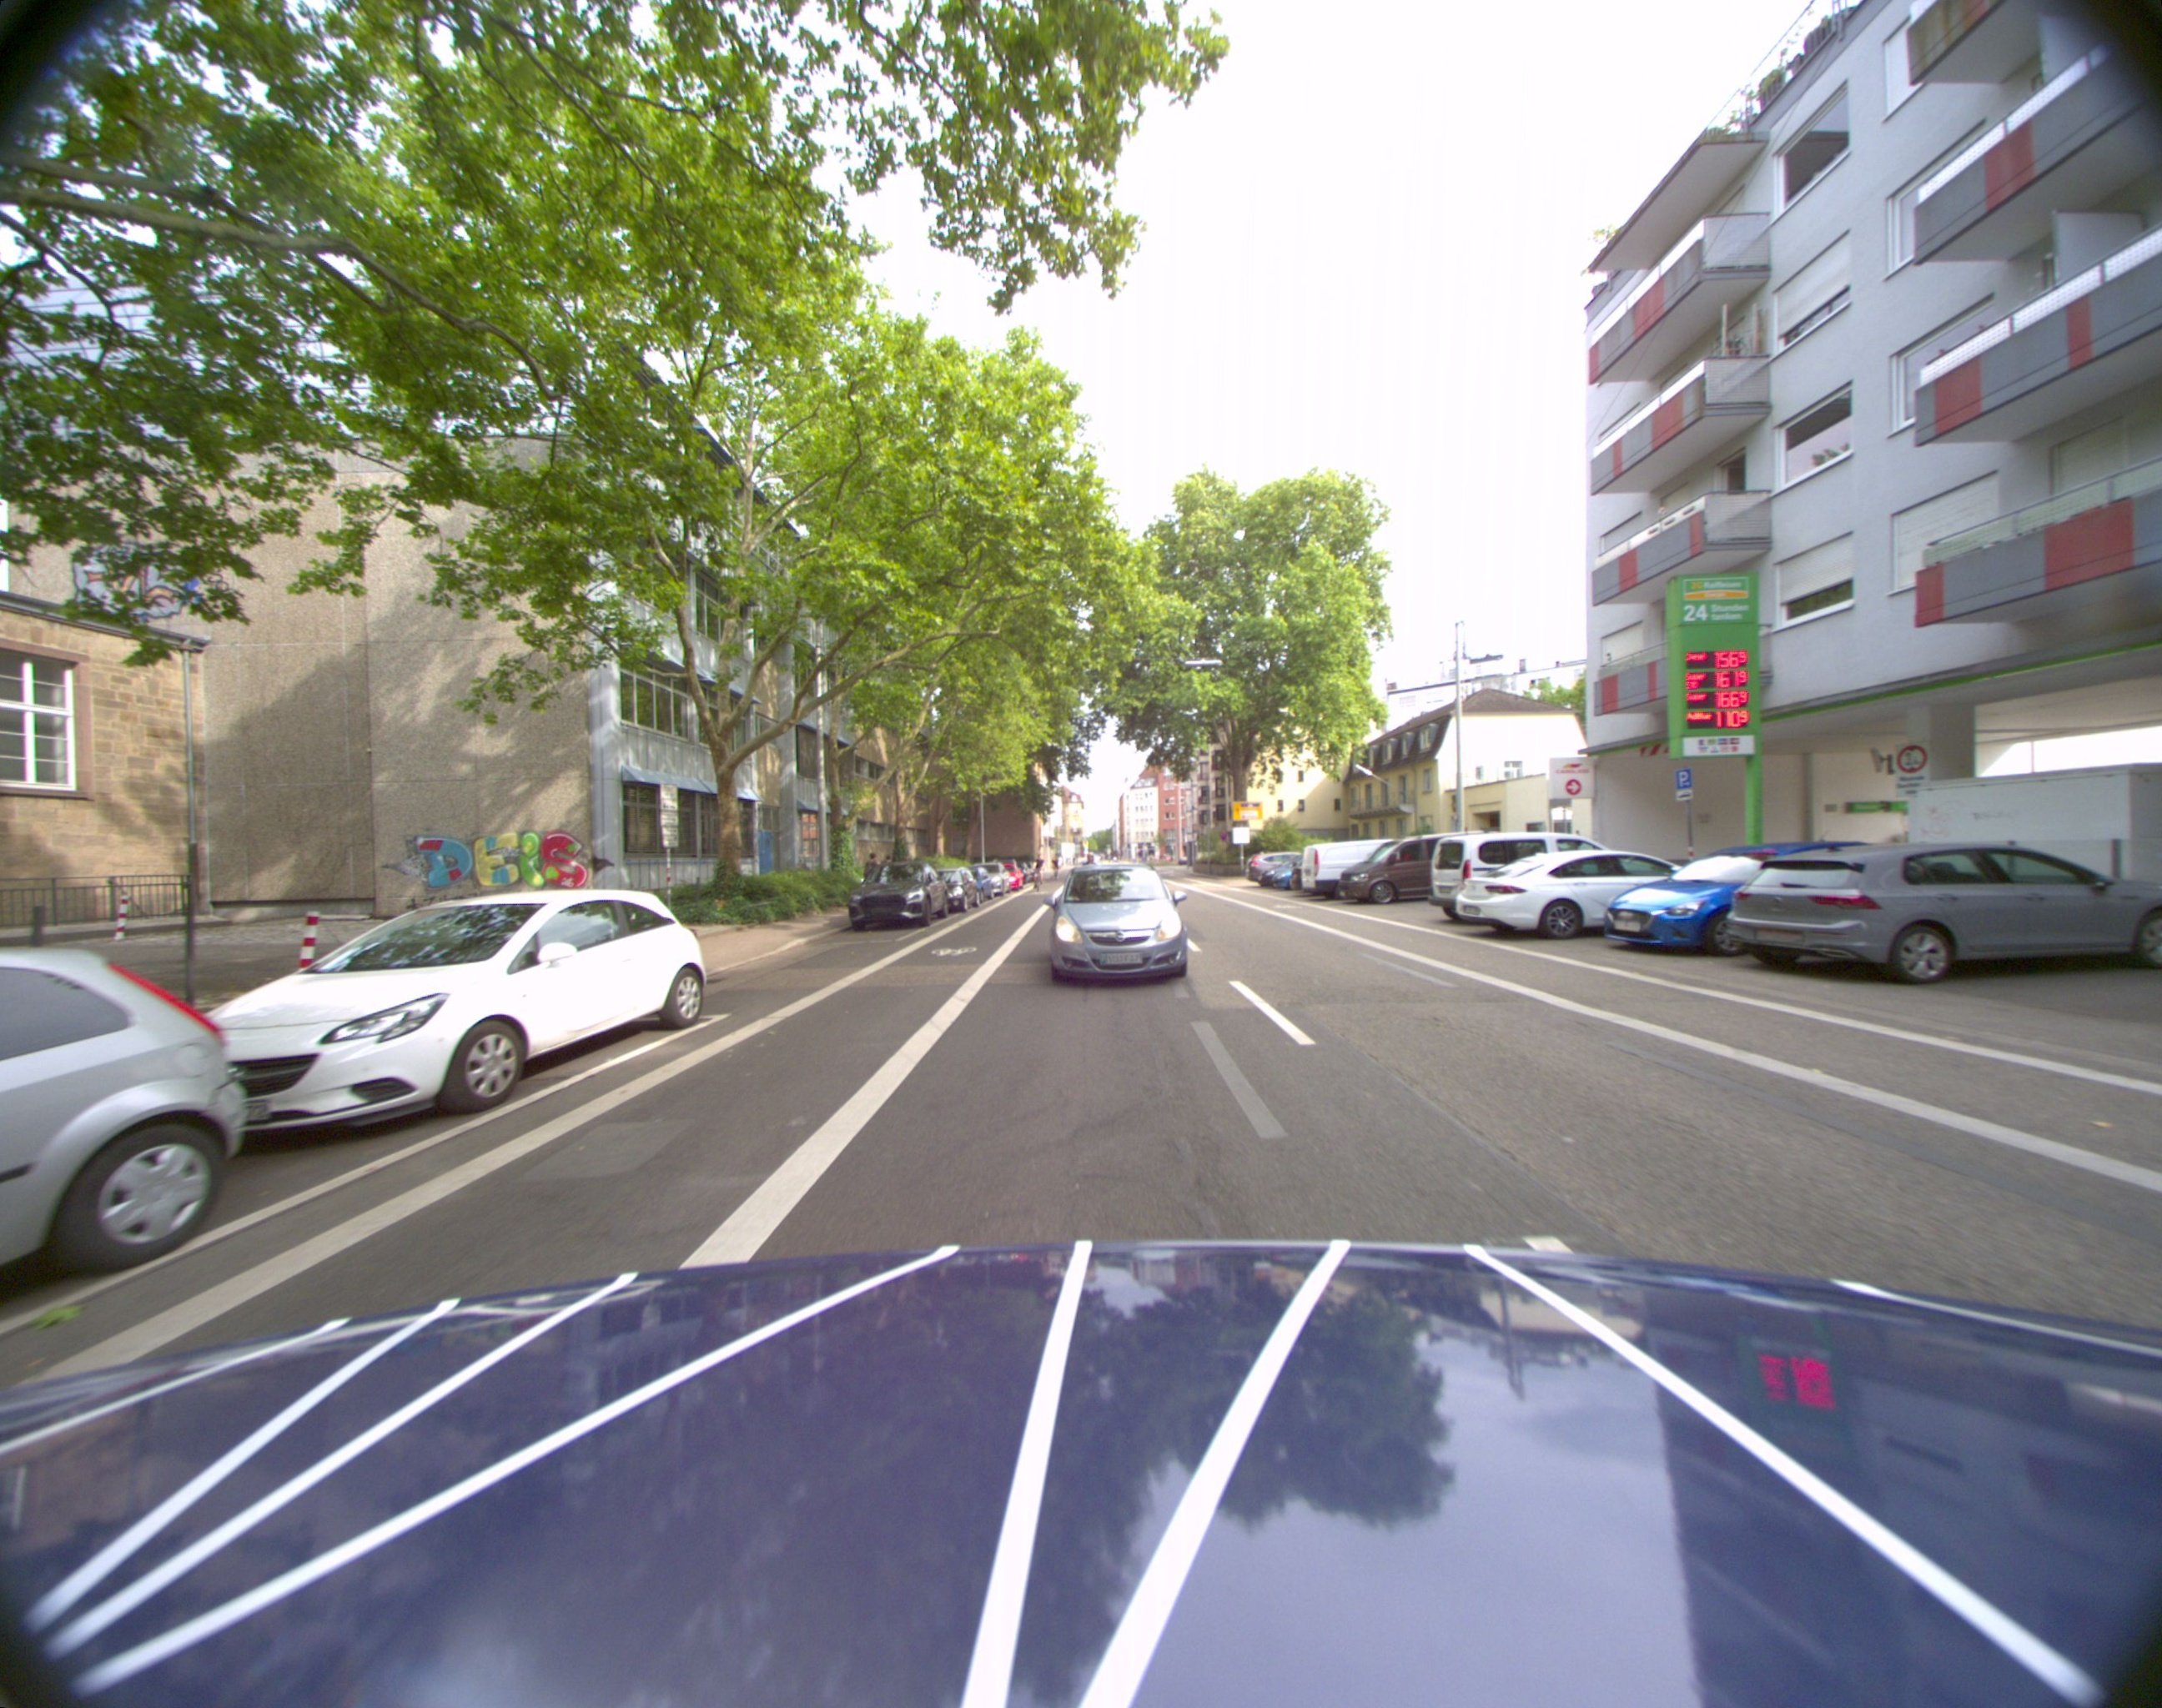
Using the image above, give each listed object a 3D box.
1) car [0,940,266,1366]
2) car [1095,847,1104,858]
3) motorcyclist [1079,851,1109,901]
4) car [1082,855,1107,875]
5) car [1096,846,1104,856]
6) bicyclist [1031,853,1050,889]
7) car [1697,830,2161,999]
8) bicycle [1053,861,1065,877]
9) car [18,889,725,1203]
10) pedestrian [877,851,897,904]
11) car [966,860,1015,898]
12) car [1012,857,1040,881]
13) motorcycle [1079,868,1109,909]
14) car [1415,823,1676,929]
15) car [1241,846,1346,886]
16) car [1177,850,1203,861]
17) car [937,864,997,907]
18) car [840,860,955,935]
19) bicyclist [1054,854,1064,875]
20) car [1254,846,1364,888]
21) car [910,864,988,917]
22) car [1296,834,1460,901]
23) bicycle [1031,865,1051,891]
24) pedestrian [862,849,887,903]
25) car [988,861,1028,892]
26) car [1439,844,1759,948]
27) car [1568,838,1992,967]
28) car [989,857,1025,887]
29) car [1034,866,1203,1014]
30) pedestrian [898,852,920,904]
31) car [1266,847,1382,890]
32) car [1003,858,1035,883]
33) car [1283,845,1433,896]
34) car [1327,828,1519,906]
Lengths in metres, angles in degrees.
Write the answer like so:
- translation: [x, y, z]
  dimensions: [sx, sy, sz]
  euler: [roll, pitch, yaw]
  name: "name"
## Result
- translation: [-4.707, 1.181, 1.699]
  dimensions: [1.647, 1.438, 3.881]
  euler: [-3, 0, -4]
  name: "car"
- translation: [4.531, -0.261, 184.486]
  dimensions: [1.998, 2.546, 4.799]
  euler: [-2, 0, 1]
  name: "car"
- translation: [0.427, 0.710, 25.083]
  dimensions: [0.904, 1.608, 0.691]
  euler: [-1, 1, 0]
  name: "motorcyclist"
- translation: [1.105, 0.884, 63.352]
  dimensions: [2.000, 1.557, 4.550]
  euler: [-2, 0, 1]
  name: "car"
- translation: [4.863, -0.725, 193.180]
  dimensions: [1.998, 2.620, 4.799]
  euler: [-2, 0, 1]
  name: "car"
- translation: [-1.969, 0.811, 37.219]
  dimensions: [0.764, 1.699, 0.917]
  euler: [-2, 1, 1]
  name: "bicyclist"
- translation: [10.018, 0.623, 8.806]
  dimensions: [4.161, 1.504, 1.837]
  euler: [-4, 0, 1]
  name: "car"
- translation: [-1.721, 1.183, 59.604]
  dimensions: [0.763, 1.162, 1.949]
  euler: [-2, 0, 1]
  name: "bicycle"
- translation: [-4.901, 1.159, 6.296]
  dimensions: [1.758, 1.438, 4.218]
  euler: [-3, 0, 1]
  name: "car"
- translation: [-6.713, 0.799, 26.244]
  dimensions: [0.502, 1.775, 0.527]
  euler: [2, 1, 0]
  name: "pedestrian"
- translation: [-4.132, 1.102, 35.245]
  dimensions: [1.602, 1.496, 4.440]
  euler: [-3, 0, 1]
  name: "car"
- translation: [-3.981, 1.068, 55.426]
  dimensions: [1.602, 1.516, 3.956]
  euler: [-3, 0, 1]
  name: "car"
- translation: [0.432, 1.110, 25.086]
  dimensions: [0.904, 1.190, 2.630]
  euler: [-1, 0, 1]
  name: "motorcycle"
- translation: [9.641, 0.444, 16.044]
  dimensions: [4.221, 1.837, 1.924]
  euler: [-4, 0, 1]
  name: "car"
- translation: [10.174, 0.564, 36.654]
  dimensions: [4.529, 1.596, 1.754]
  euler: [-4, 0, 2]
  name: "car"
- translation: [17.211, 0.209, 119.775]
  dimensions: [1.967, 1.660, 4.560]
  euler: [-2, 1, 38]
  name: "car"
- translation: [-4.373, 1.170, 29.765]
  dimensions: [1.602, 1.414, 3.956]
  euler: [-3, 0, 1]
  name: "car"
- translation: [-4.671, 1.041, 20.063]
  dimensions: [1.926, 1.612, 4.480]
  euler: [-3, 0, -1]
  name: "car"
- translation: [-1.725, 0.838, 59.607]
  dimensions: [0.749, 1.590, 0.819]
  euler: [-2, 1, 1]
  name: "bicyclist"
- translation: [10.223, 0.583, 34.339]
  dimensions: [4.372, 1.540, 1.733]
  euler: [-4, 0, 2]
  name: "car"
- translation: [-4.282, 1.137, 25.335]
  dimensions: [1.643, 1.424, 4.573]
  euler: [-3, 0, 1]
  name: "car"
- translation: [9.773, 0.430, 25.282]
  dimensions: [4.627, 1.848, 1.950]
  euler: [-4, 0, 2]
  name: "car"
- translation: [-1.960, 1.176, 37.203]
  dimensions: [0.763, 1.162, 1.949]
  euler: [-2, 0, 1]
  name: "bicycle"
- translation: [-7.185, 0.743, 26.411]
  dimensions: [0.644, 1.823, 0.645]
  euler: [2, 1, 0]
  name: "pedestrian"
- translation: [-3.856, 1.161, 40.570]
  dimensions: [1.602, 1.438, 4.105]
  euler: [-3, 0, 1]
  name: "car"
- translation: [8.957, 0.696, 13.434]
  dimensions: [4.281, 1.442, 1.874]
  euler: [-4, 0, 1]
  name: "car"
- translation: [9.894, 0.649, 11.056]
  dimensions: [4.311, 1.442, 1.910]
  euler: [-4, 0, 1]
  name: "car"
- translation: [-4.470, 1.045, 46.172]
  dimensions: [1.651, 1.655, 3.797]
  euler: [-3, 0, 1]
  name: "car"
- translation: [0.426, 0.928, 10.057]
  dimensions: [1.716, 1.412, 4.253]
  euler: [-2, 0, 1]
  name: "car"
- translation: [-5.973, 0.838, 26.396]
  dimensions: [0.592, 1.775, 0.476]
  euler: [2, 1, 0]
  name: "pedestrian"
- translation: [10.231, 0.600, 32.210]
  dimensions: [4.276, 1.502, 1.719]
  euler: [-4, 0, 2]
  name: "car"
- translation: [-4.099, 1.061, 50.715]
  dimensions: [1.602, 1.516, 3.956]
  euler: [-3, 0, 1]
  name: "car"
- translation: [10.021, 0.585, 27.719]
  dimensions: [4.716, 1.461, 1.874]
  euler: [-4, 0, 2]
  name: "car"
- translation: [10.131, 0.374, 22.810]
  dimensions: [4.778, 1.923, 1.994]
  euler: [-4, 0, 2]
  name: "car"
